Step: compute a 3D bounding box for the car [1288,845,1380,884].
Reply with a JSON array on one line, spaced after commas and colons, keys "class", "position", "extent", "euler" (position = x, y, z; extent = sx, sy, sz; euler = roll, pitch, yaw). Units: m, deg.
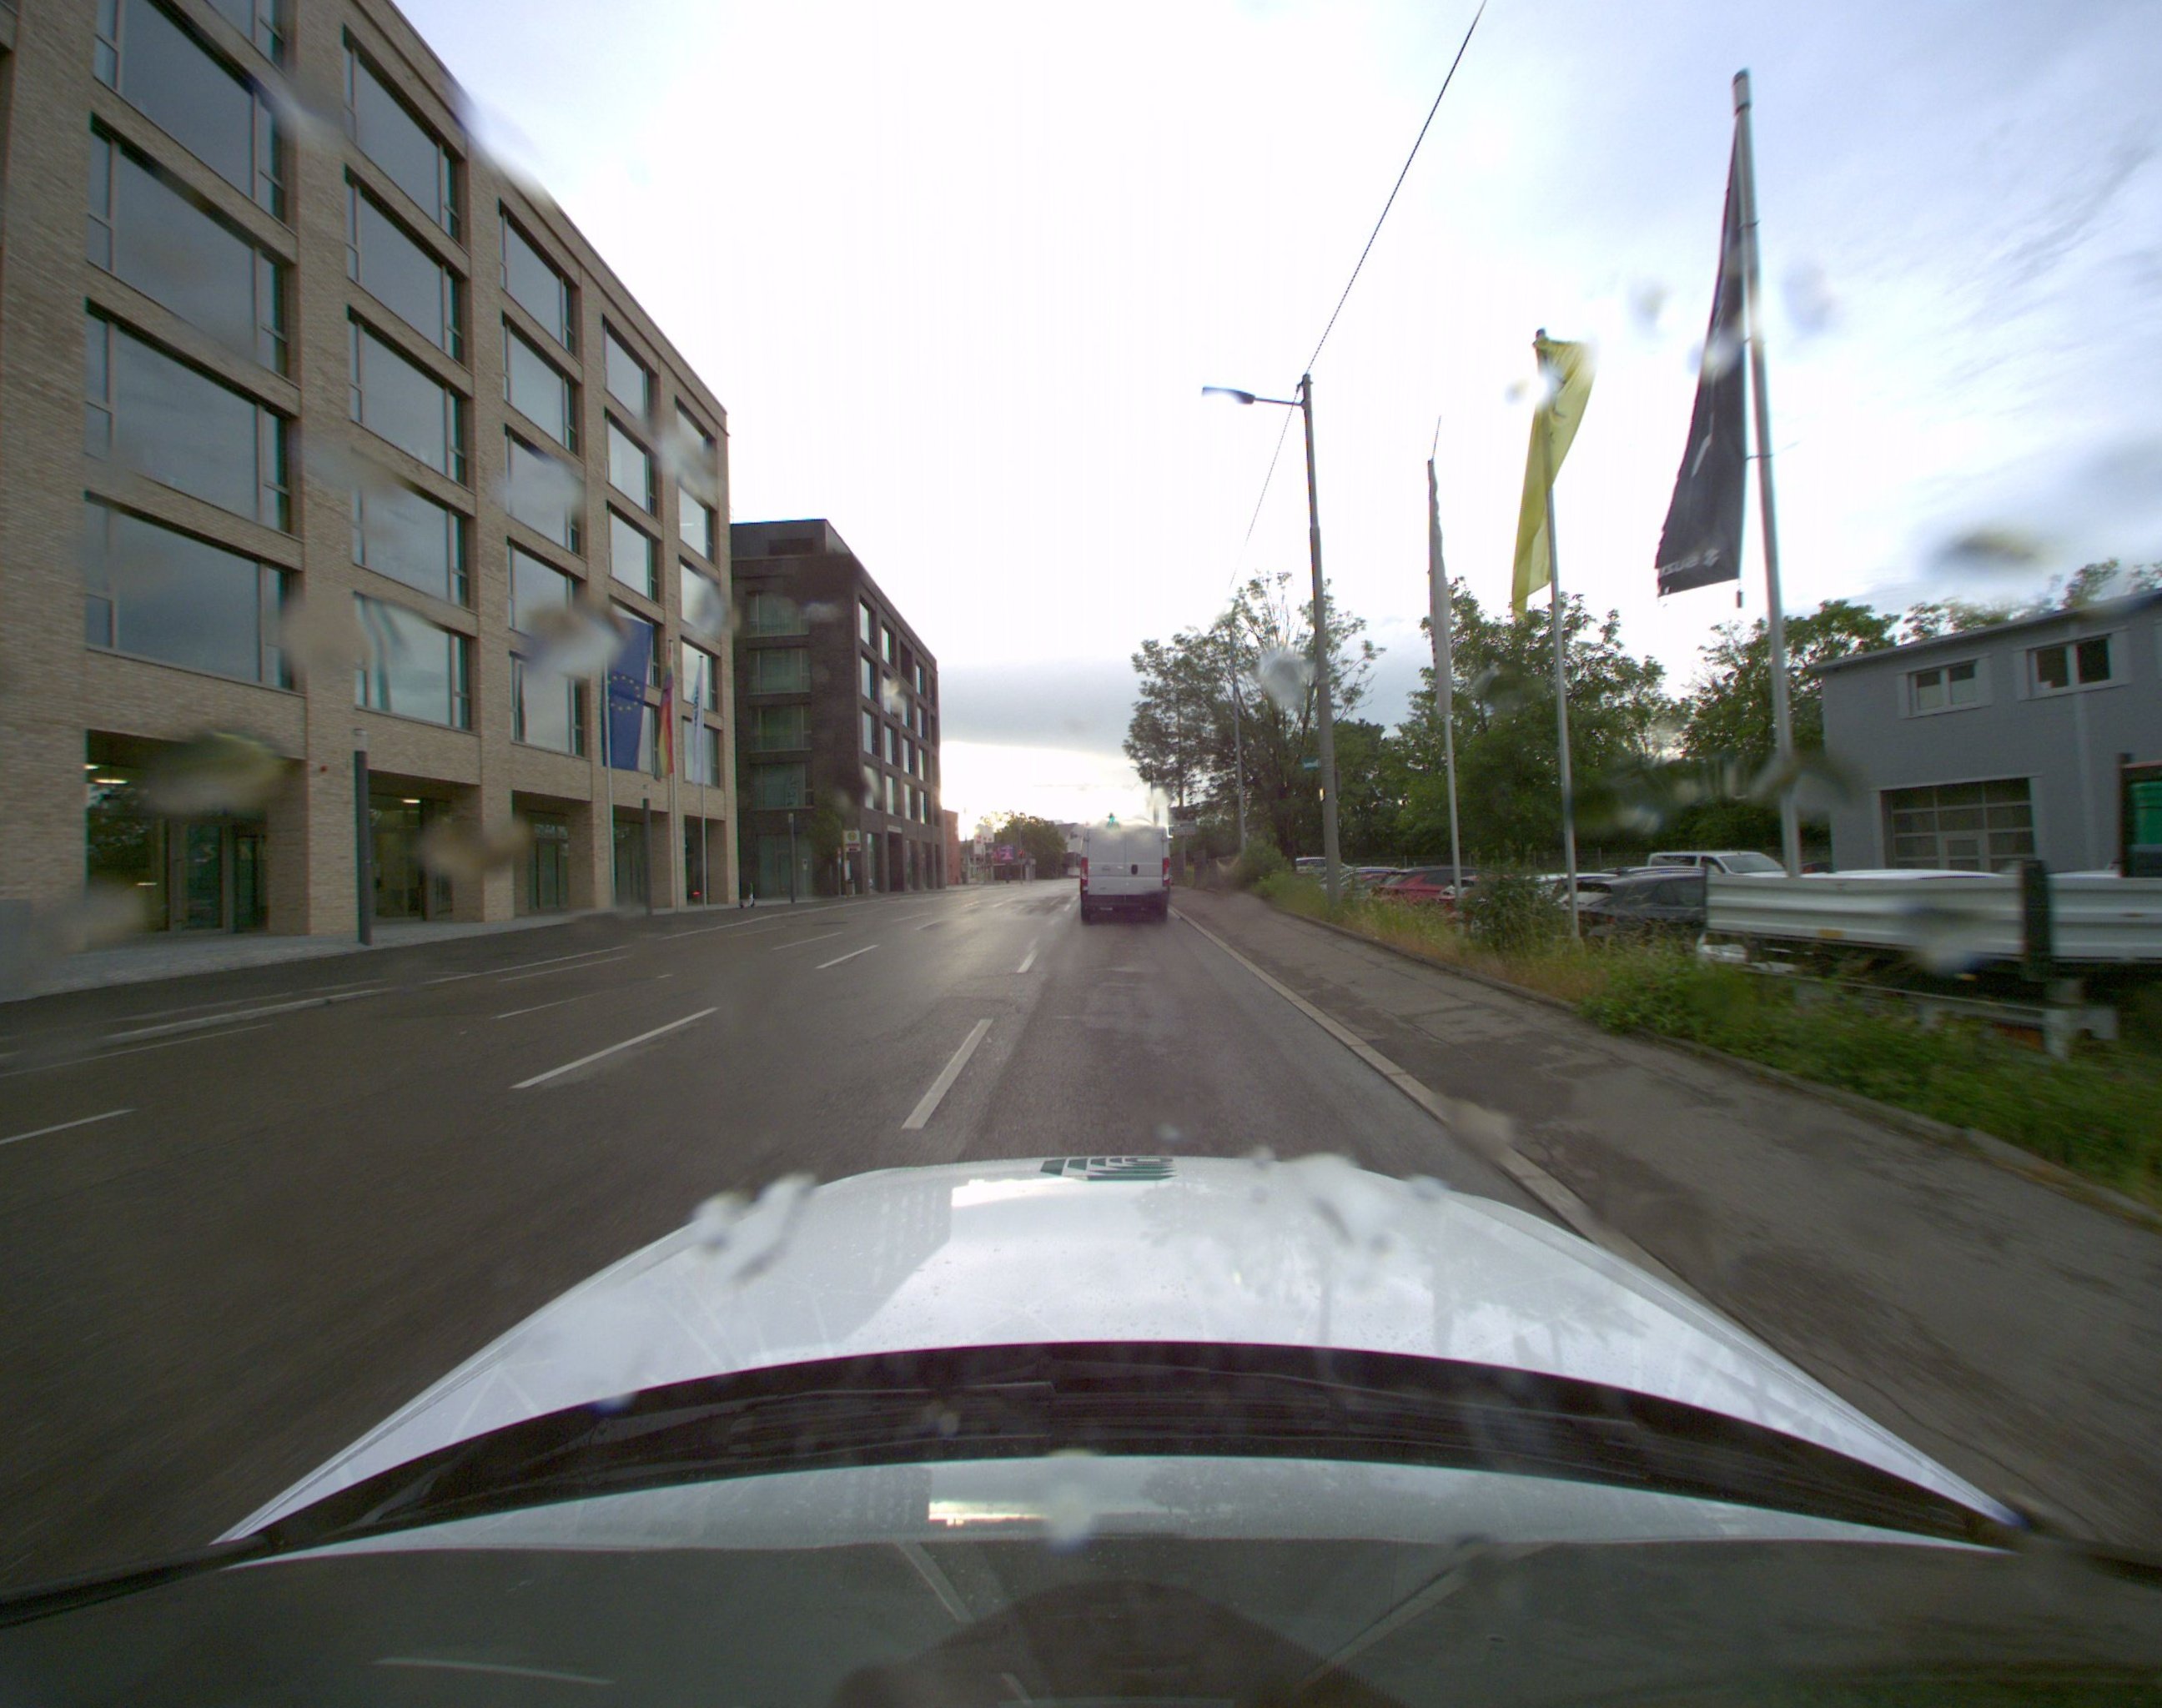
[{"class": "car", "position": [12.801, 0.527, 41.340], "extent": [3.979, 1.521, 1.801], "euler": [-6, 0, -4]}]

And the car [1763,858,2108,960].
[{"class": "car", "position": [13.328, 0.824, 12.888], "extent": [3.606, 1.418, 1.632], "euler": [-1, 0, 4]}]

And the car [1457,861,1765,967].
[{"class": "car", "position": [8.376, 0.916, 13.160], "extent": [3.749, 1.494, 1.812], "euler": [-1, 0, 3]}]

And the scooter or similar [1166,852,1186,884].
[{"class": "scooter or similar", "position": [4.862, 0.687, 41.641], "extent": [0.436, 1.587, 1.264], "euler": [-1, 0, -20]}]

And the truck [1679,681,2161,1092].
[{"class": "truck", "position": [7.250, 0.094, 5.232], "extent": [5.132, 2.013, 2.345], "euler": [-1, 1, -1]}]

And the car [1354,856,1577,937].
[{"class": "car", "position": [8.410, 0.903, 18.082], "extent": [4.113, 1.589, 1.761], "euler": [-1, 0, 2]}]

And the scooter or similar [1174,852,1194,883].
[{"class": "scooter or similar", "position": [5.284, 0.688, 41.809], "extent": [0.436, 1.564, 1.264], "euler": [-1, 0, -20]}]

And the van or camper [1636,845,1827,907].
[{"class": "van or camper", "position": [21.074, 0.616, 26.806], "extent": [1.985, 1.788, 5.620], "euler": [-1, 0, 2]}]

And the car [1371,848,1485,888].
[{"class": "car", "position": [14.445, 0.580, 33.995], "extent": [3.978, 1.522, 1.801], "euler": [-1, 0, -4]}]

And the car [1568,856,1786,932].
[{"class": "car", "position": [13.156, 0.863, 18.136], "extent": [3.676, 1.519, 1.558], "euler": [-1, 0, 2]}]

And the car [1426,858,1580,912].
[{"class": "car", "position": [13.277, 0.948, 25.776], "extent": [3.978, 1.522, 1.801], "euler": [-1, 0, -4]}]

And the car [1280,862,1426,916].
[{"class": "car", "position": [8.499, 1.058, 25.665], "extent": [3.978, 1.522, 1.801], "euler": [-1, 0, -4]}]

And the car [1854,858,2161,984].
[{"class": "car", "position": [12.667, 0.810, 10.535], "extent": [3.674, 1.418, 1.632], "euler": [-1, 0, 4]}]

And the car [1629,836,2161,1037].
[{"class": "car", "position": [7.859, 0.725, 8.094], "extent": [3.681, 1.670, 1.735], "euler": [-1, 0, -2]}]

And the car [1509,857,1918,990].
[{"class": "car", "position": [7.962, 0.811, 10.537], "extent": [3.850, 1.454, 1.915], "euler": [-1, 0, -2]}]

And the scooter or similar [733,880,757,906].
[{"class": "scooter or similar", "position": [-14.118, 1.638, 34.284], "extent": [0.349, 1.071, 1.429], "euler": [-1, -2, 3]}]

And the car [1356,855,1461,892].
[{"class": "car", "position": [14.573, 0.844, 36.344], "extent": [3.978, 1.522, 1.801], "euler": [-1, 0, -4]}]

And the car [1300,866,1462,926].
[{"class": "car", "position": [8.473, 1.162, 23.251], "extent": [3.972, 1.522, 1.804], "euler": [-1, 0, 1]}]

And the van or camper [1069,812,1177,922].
[{"class": "van or camper", "position": [1.042, 0.264, 20.490], "extent": [2.330, 2.357, 5.203], "euler": [-1, 0, 2]}]

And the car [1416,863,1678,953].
[{"class": "car", "position": [8.704, 0.976, 15.478], "extent": [3.972, 1.508, 1.761], "euler": [-1, 0, 1]}]

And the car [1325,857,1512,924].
[{"class": "car", "position": [8.436, 0.892, 20.592], "extent": [3.972, 1.522, 1.804], "euler": [-1, 0, 1]}]
